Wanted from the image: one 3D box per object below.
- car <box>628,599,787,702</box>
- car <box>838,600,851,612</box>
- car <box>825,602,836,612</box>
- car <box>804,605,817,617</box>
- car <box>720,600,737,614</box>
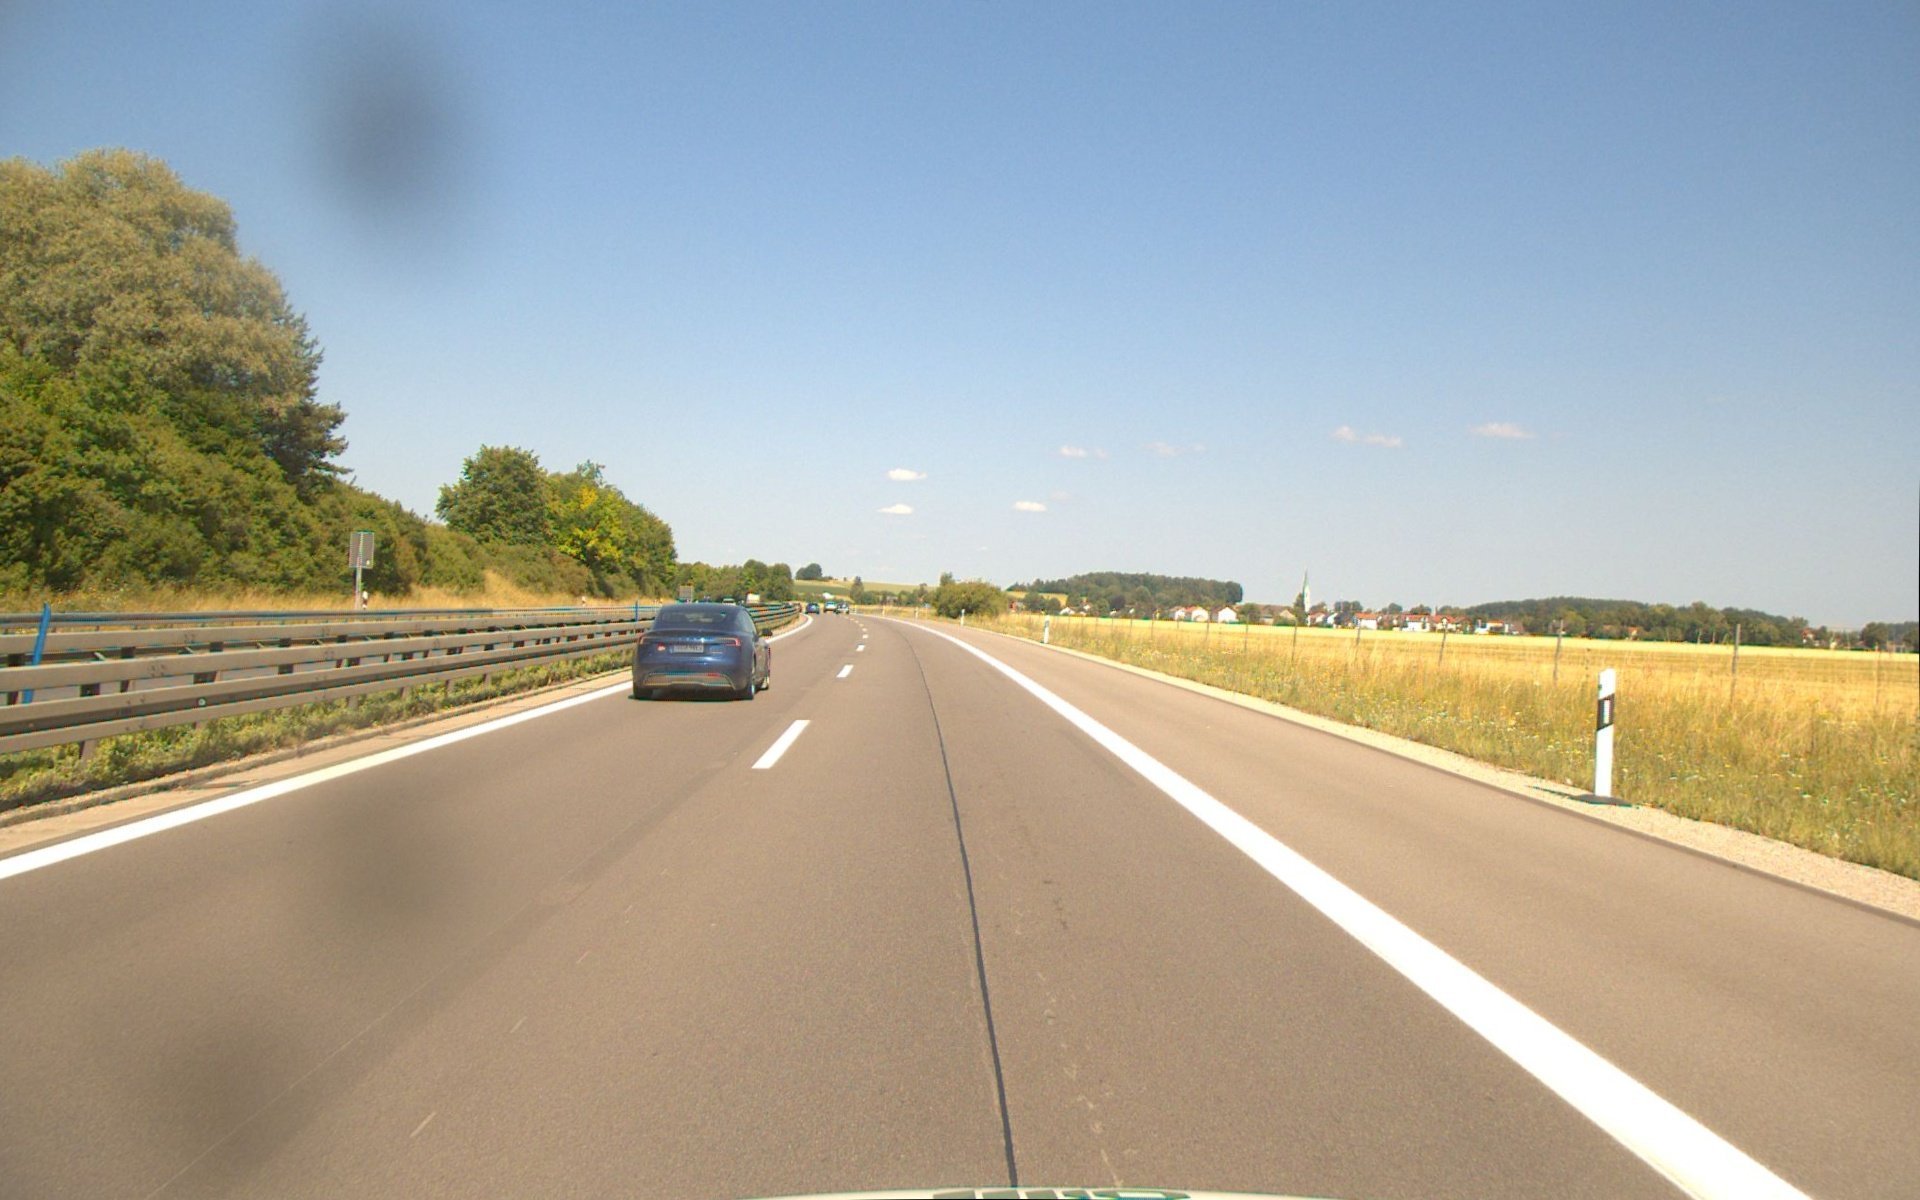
[{"bbox_3d":[-3.961,0.726,26.848,1.810,1.458,5.864,1,0,-2],"label":"car"},{"bbox_3d":[-14.798,0.818,211.931,1.643,1.479,3.588,1,0,-5],"label":"car"},{"bbox_3d":[-19.664,0.995,250.866,1.643,1.479,3.587,1,0,-6],"label":"car"},{"bbox_3d":[-19.287,1.422,213.595,1.643,1.479,3.588,1,0,-5],"label":"car"},{"bbox_3d":[-28.661,0.883,204.630,1.717,1.592,4.576,2,0,-4],"label":"car"}]
